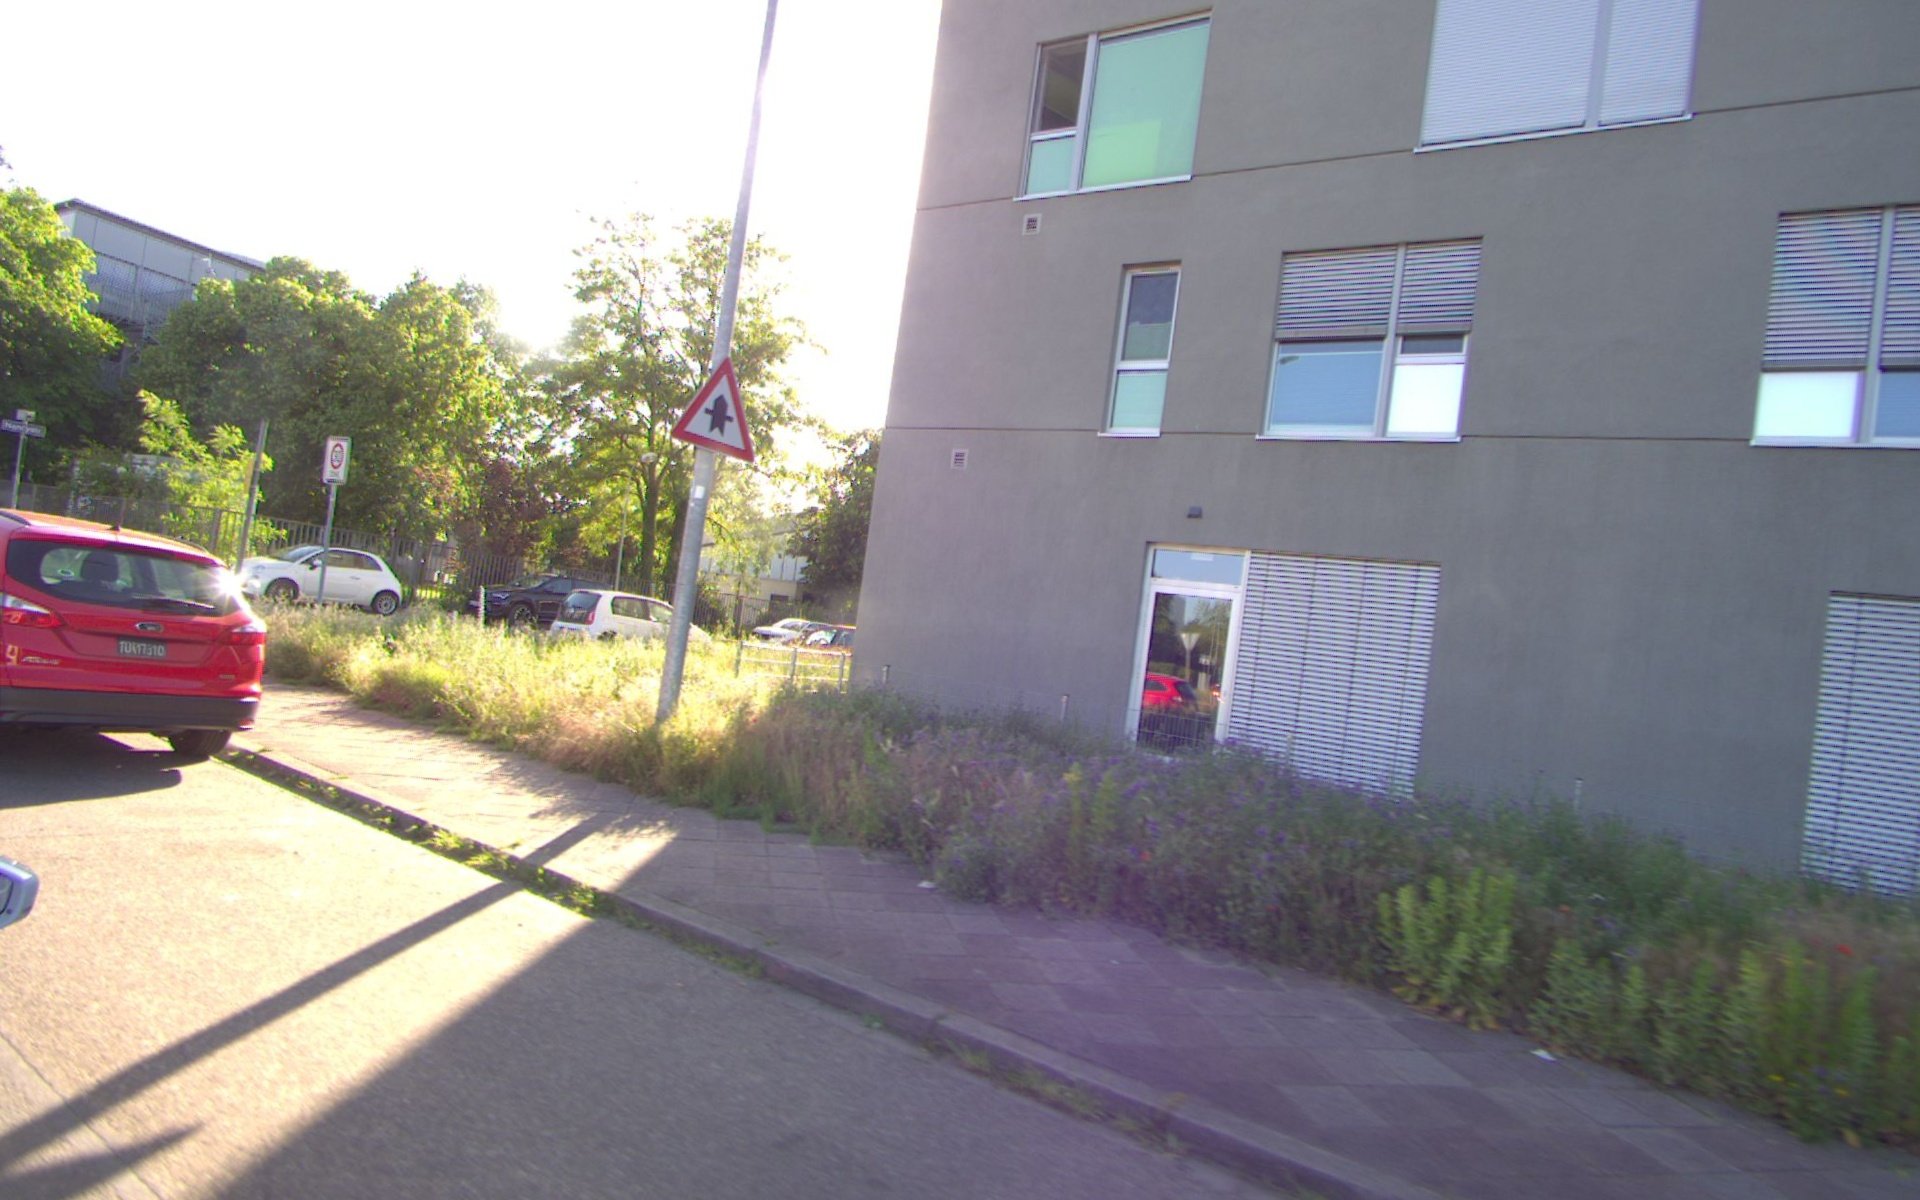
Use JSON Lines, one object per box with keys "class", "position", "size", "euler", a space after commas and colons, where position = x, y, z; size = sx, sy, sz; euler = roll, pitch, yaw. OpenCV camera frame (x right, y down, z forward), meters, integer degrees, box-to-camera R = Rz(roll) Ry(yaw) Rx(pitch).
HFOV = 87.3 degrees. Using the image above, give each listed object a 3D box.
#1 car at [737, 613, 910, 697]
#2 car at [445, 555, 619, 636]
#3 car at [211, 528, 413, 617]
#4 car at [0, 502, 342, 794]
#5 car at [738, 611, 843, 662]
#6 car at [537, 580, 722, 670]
{"class": "car", "position": [-3.410, 1.351, 24.959], "size": [3.933, 1.487, 1.696], "euler": [7, -1, 31]}
{"class": "car", "position": [-12.013, -0.077, 28.526], "size": [1.726, 1.655, 4.162], "euler": [7, -2, 32]}
{"class": "car", "position": [-15.143, -0.593, 23.688], "size": [1.574, 1.502, 3.554], "euler": [7, -2, 32]}
{"class": "car", "position": [-6.530, 0.137, 6.965], "size": [4.377, 1.515, 1.825], "euler": [7, -4, 30]}
{"class": "car", "position": [-6.376, 1.411, 38.259], "size": [1.682, 1.453, 3.998], "euler": [7, -3, 29]}
{"class": "car", "position": [-7.085, 0.573, 21.806], "size": [1.688, 1.474, 3.330], "euler": [7, -2, 36]}
